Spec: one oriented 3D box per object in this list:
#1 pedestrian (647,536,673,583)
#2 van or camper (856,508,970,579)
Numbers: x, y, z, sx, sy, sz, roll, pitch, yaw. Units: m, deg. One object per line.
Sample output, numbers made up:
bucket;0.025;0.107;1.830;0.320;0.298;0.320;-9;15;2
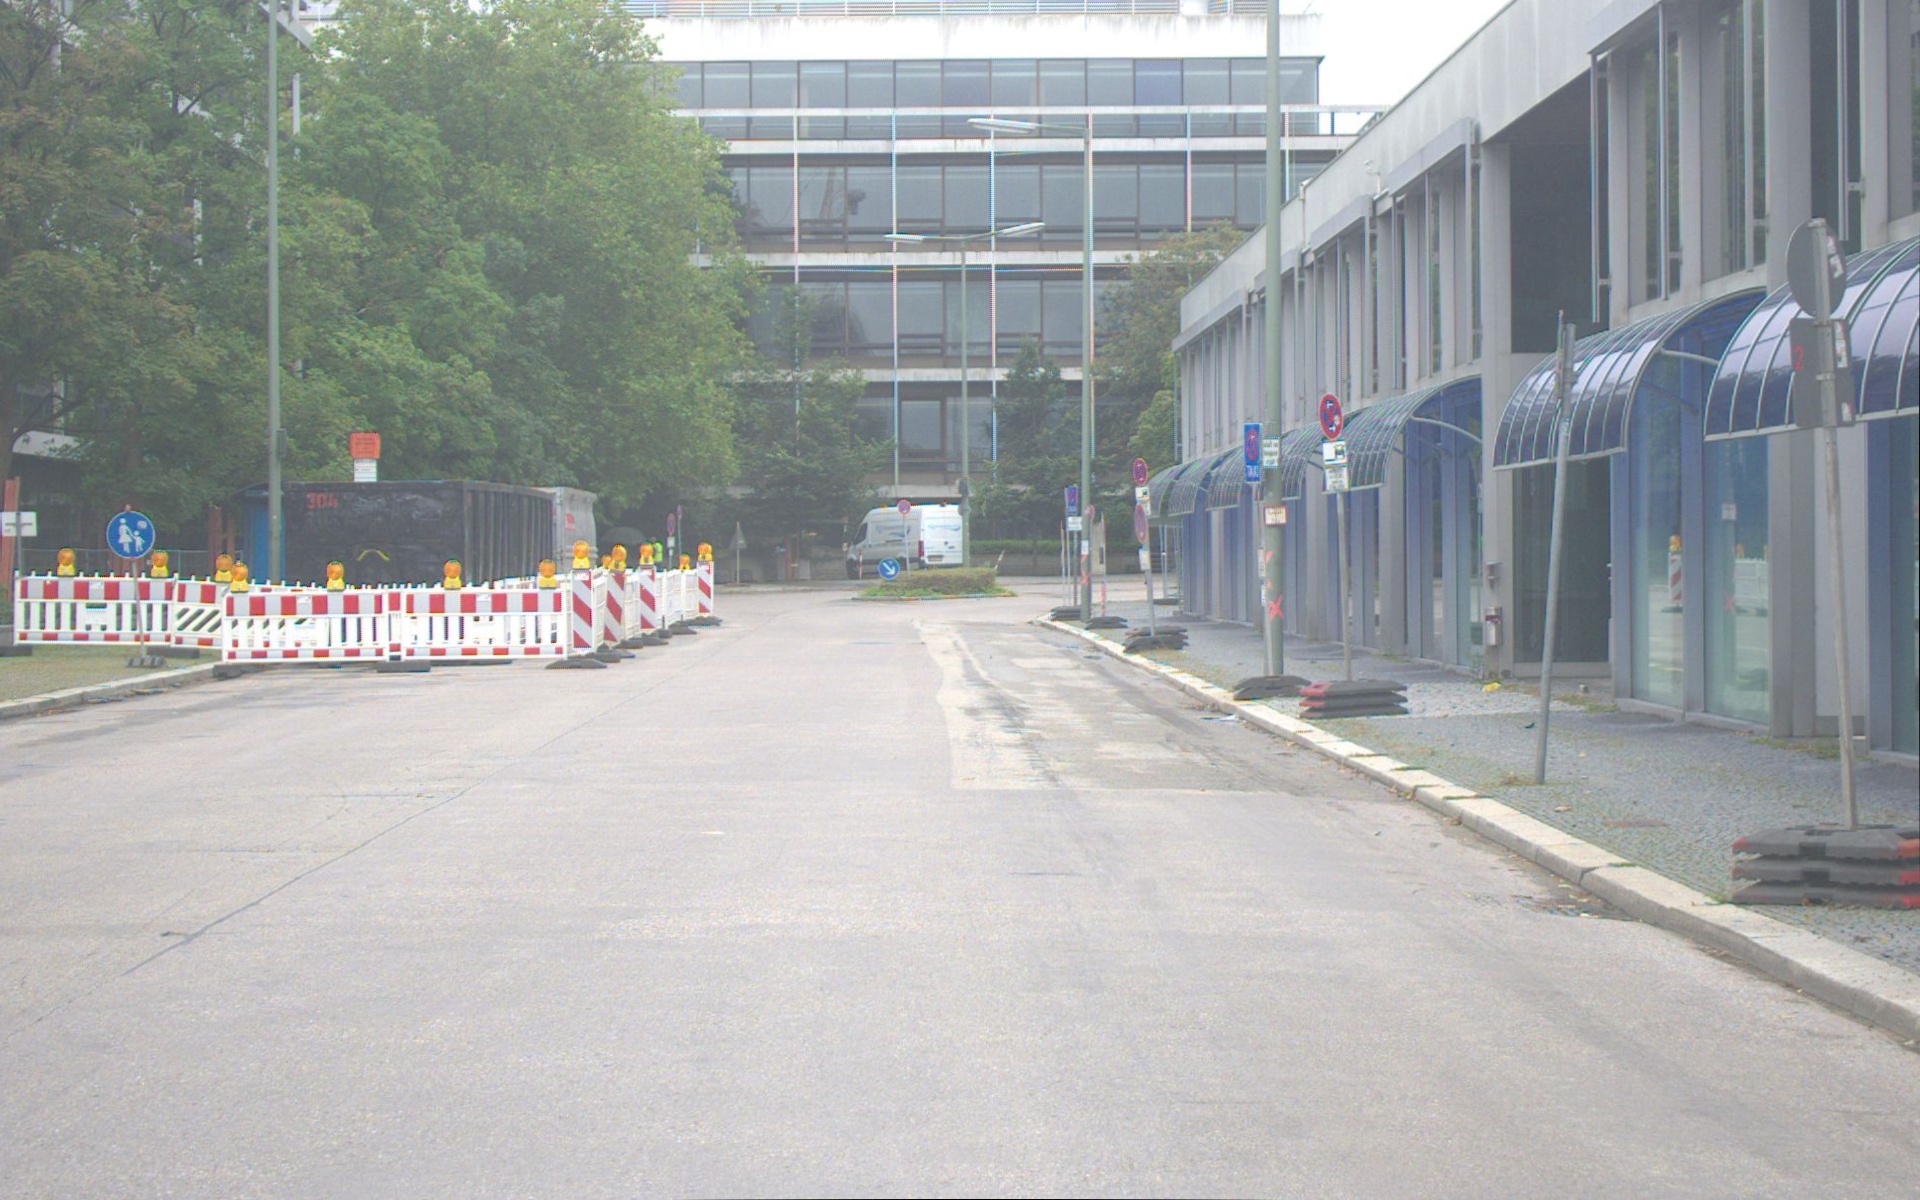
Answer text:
pedestrian;-10.578;-1.427;121.276;0.741;1.671;0.682;0;1;-20
van or camper;-1.693;-2.021;122.528;2.085;2.483;5.068;0;1;-26
